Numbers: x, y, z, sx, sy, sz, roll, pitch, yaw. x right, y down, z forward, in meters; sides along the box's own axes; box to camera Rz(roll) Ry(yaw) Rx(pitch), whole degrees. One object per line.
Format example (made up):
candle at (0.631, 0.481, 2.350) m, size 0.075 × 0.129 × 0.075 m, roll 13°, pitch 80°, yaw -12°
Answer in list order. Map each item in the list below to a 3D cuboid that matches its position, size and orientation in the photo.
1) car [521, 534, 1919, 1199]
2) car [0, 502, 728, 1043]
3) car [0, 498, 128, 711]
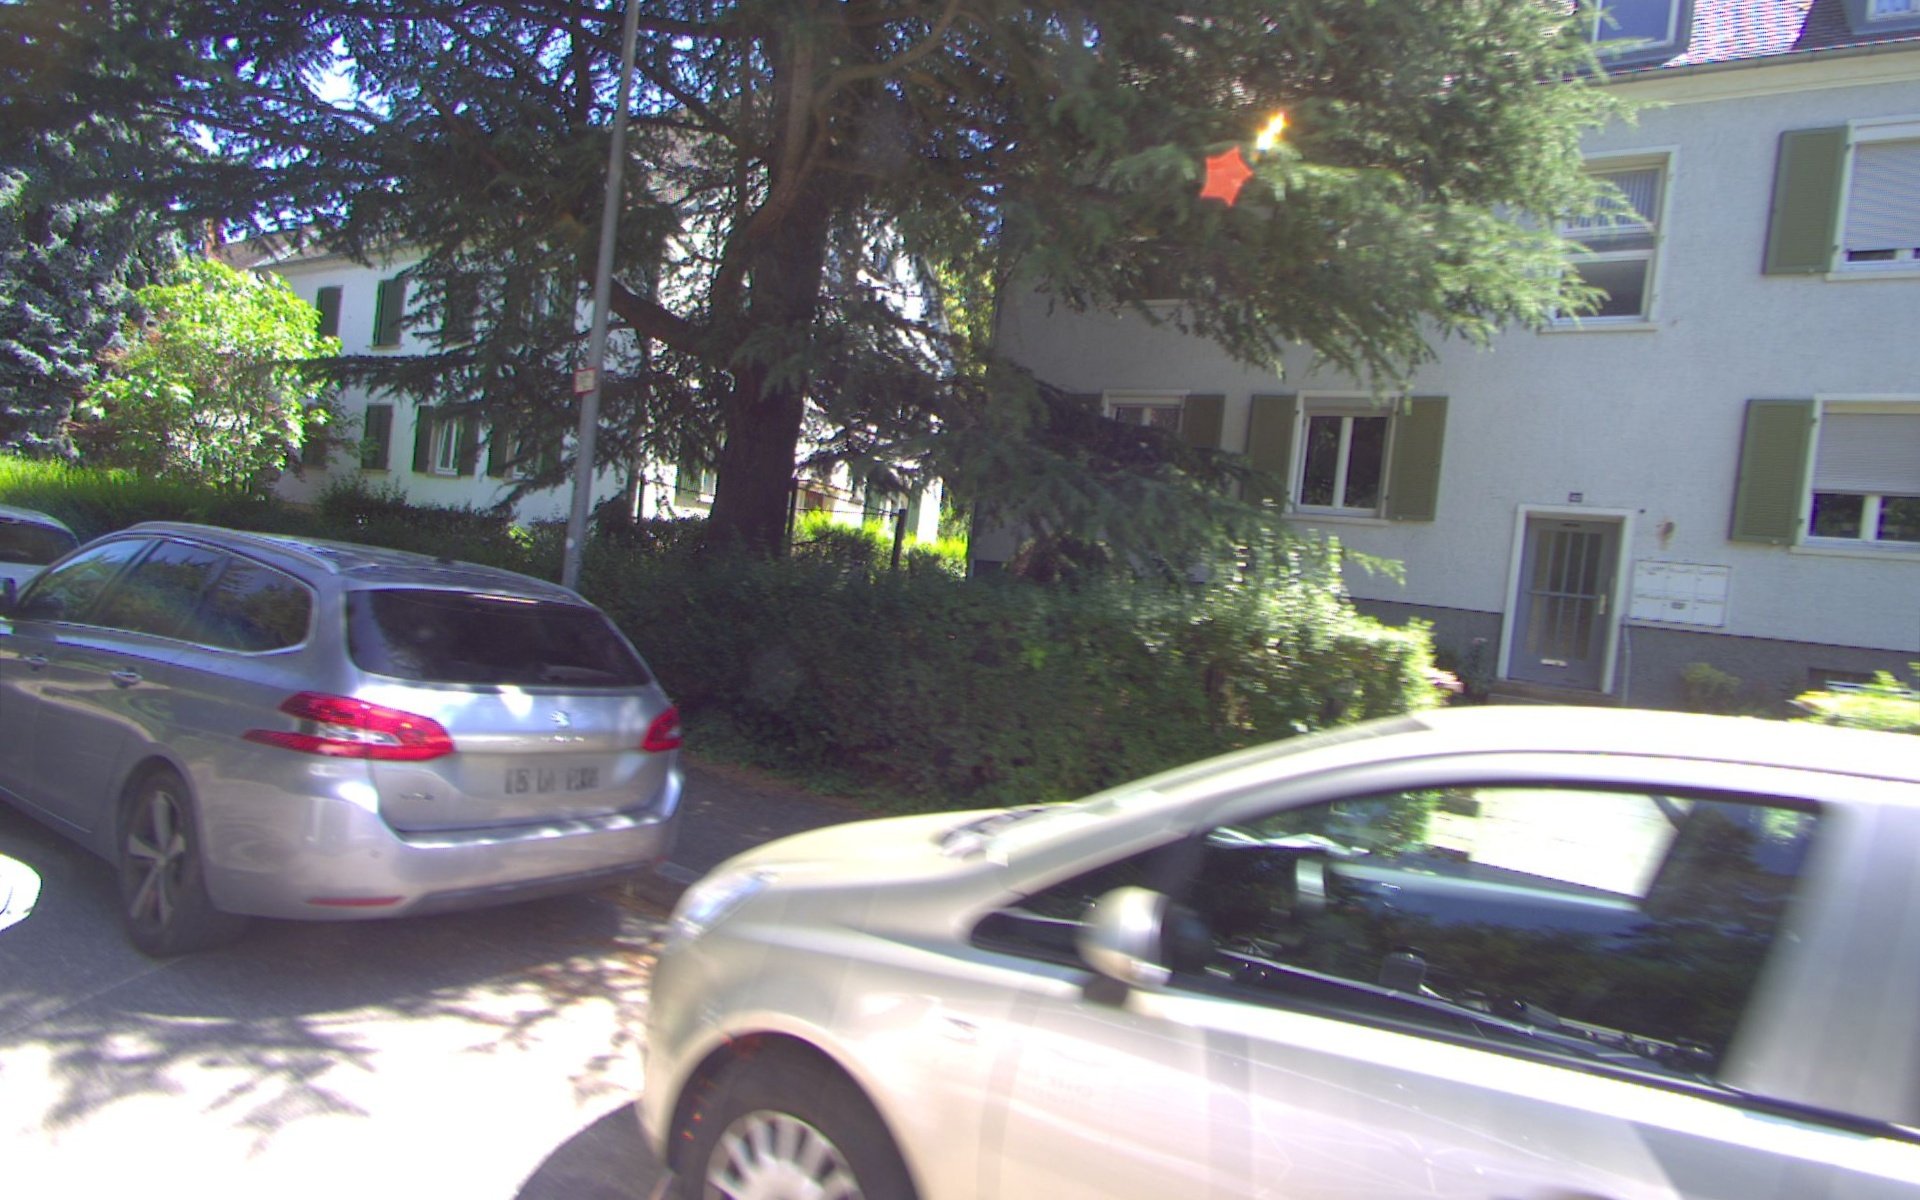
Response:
car at (1.218, 0.884, 1.918) m, size 3.996 × 1.529 × 1.618 m, roll 6°, pitch -3°, yaw 31°
car at (-3.281, 0.433, 4.693) m, size 4.303 × 1.467 × 1.617 m, roll 5°, pitch -2°, yaw 33°
car at (-8.586, -0.150, 8.197) m, size 3.998 × 1.488 × 1.615 m, roll 7°, pitch 1°, yaw 33°
